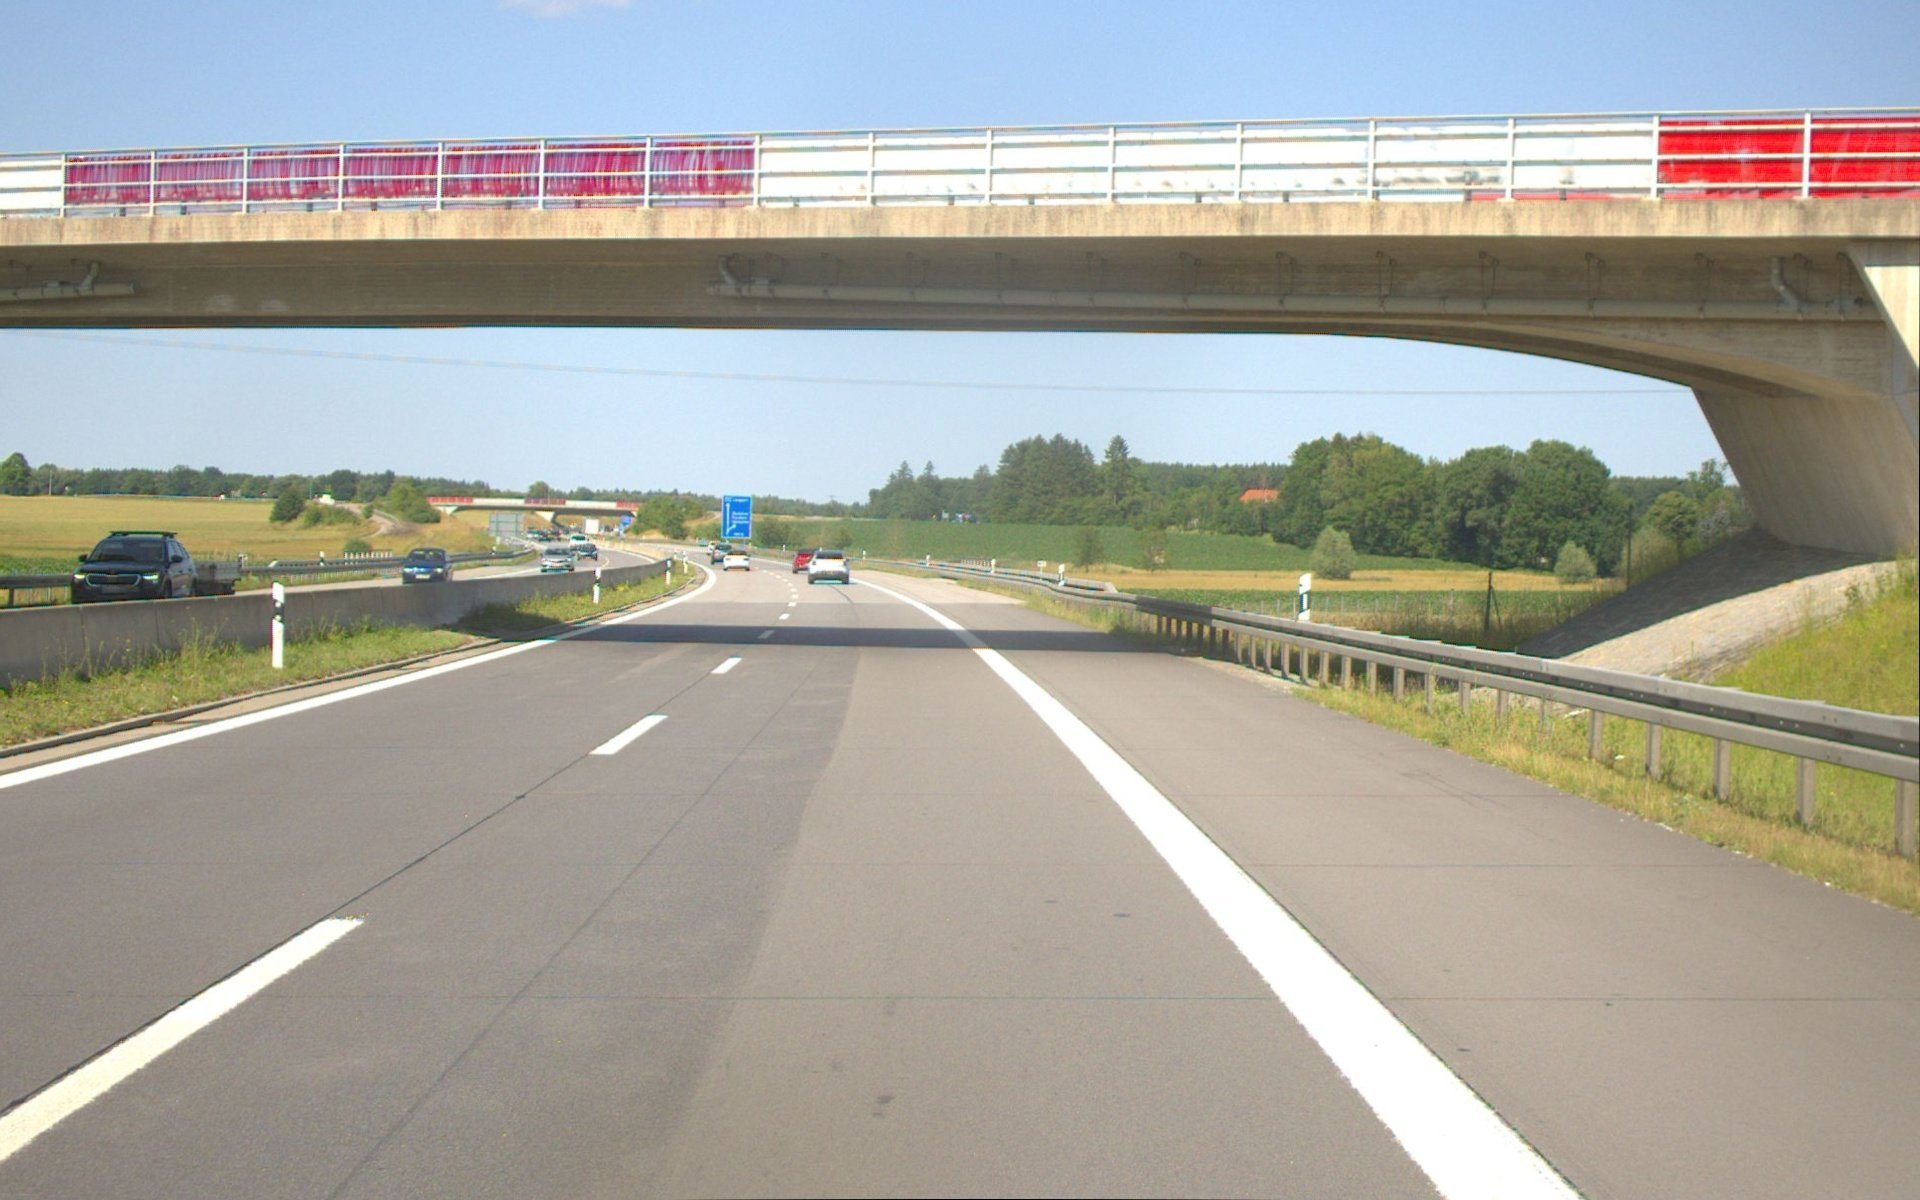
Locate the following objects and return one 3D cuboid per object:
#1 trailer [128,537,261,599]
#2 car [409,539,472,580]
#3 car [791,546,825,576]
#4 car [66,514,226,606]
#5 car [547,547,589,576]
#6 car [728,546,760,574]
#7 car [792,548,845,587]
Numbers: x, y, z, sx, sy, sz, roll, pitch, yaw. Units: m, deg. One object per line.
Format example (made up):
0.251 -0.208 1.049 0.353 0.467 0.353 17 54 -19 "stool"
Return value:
-16.491 -0.700 74.263 1.993 1.253 4.263 1 1 -2 "trailer"
-19.182 -1.501 127.035 1.854 1.455 4.196 1 1 -2 "car"
-9.330 -2.390 210.691 1.993 1.725 4.870 1 1 -3 "car"
-16.344 -0.823 69.303 1.993 1.725 5.588 1 1 -1 "car"
-22.282 -2.178 195.405 1.993 1.573 4.897 2 0 -2 "car"
-14.227 -2.638 226.871 1.993 1.725 4.870 1 1 -3 "car"
-6.574 -1.524 159.251 1.993 1.725 4.870 1 1 -8 "car"
